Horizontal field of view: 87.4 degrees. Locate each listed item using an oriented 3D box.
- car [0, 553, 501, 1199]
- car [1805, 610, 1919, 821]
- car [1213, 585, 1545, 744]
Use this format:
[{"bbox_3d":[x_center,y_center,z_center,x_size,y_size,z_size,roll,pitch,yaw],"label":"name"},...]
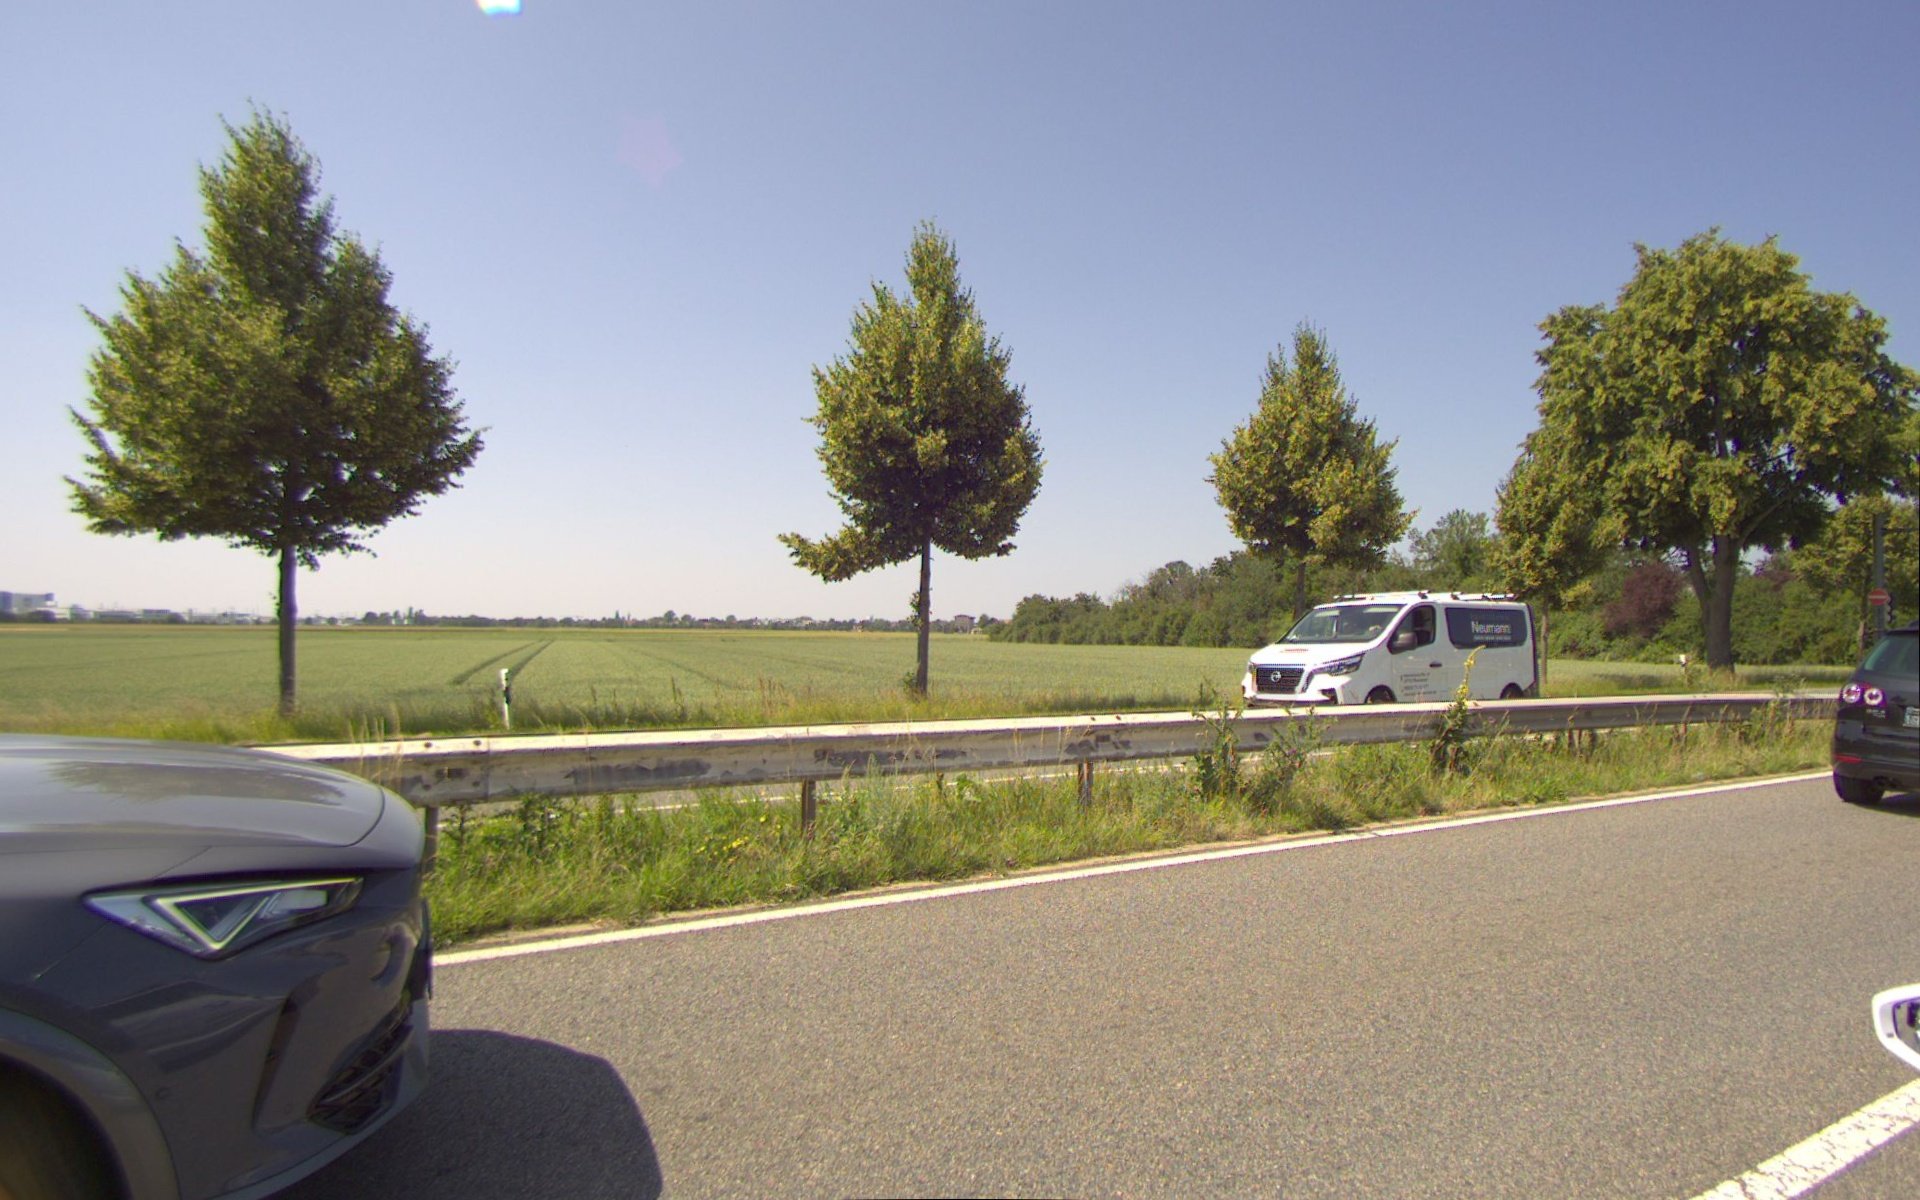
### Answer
[{"bbox_3d":[-3.198,0.649,1.647,4.311,1.523,1.737,1,0,-30],"label":"car"},{"bbox_3d":[9.085,0.929,8.486,3.845,1.597,1.716,1,0,-29],"label":"car"},{"bbox_3d":[6.240,0.886,14.790,4.958,2.006,1.984,1,-2,-31],"label":"car"}]
